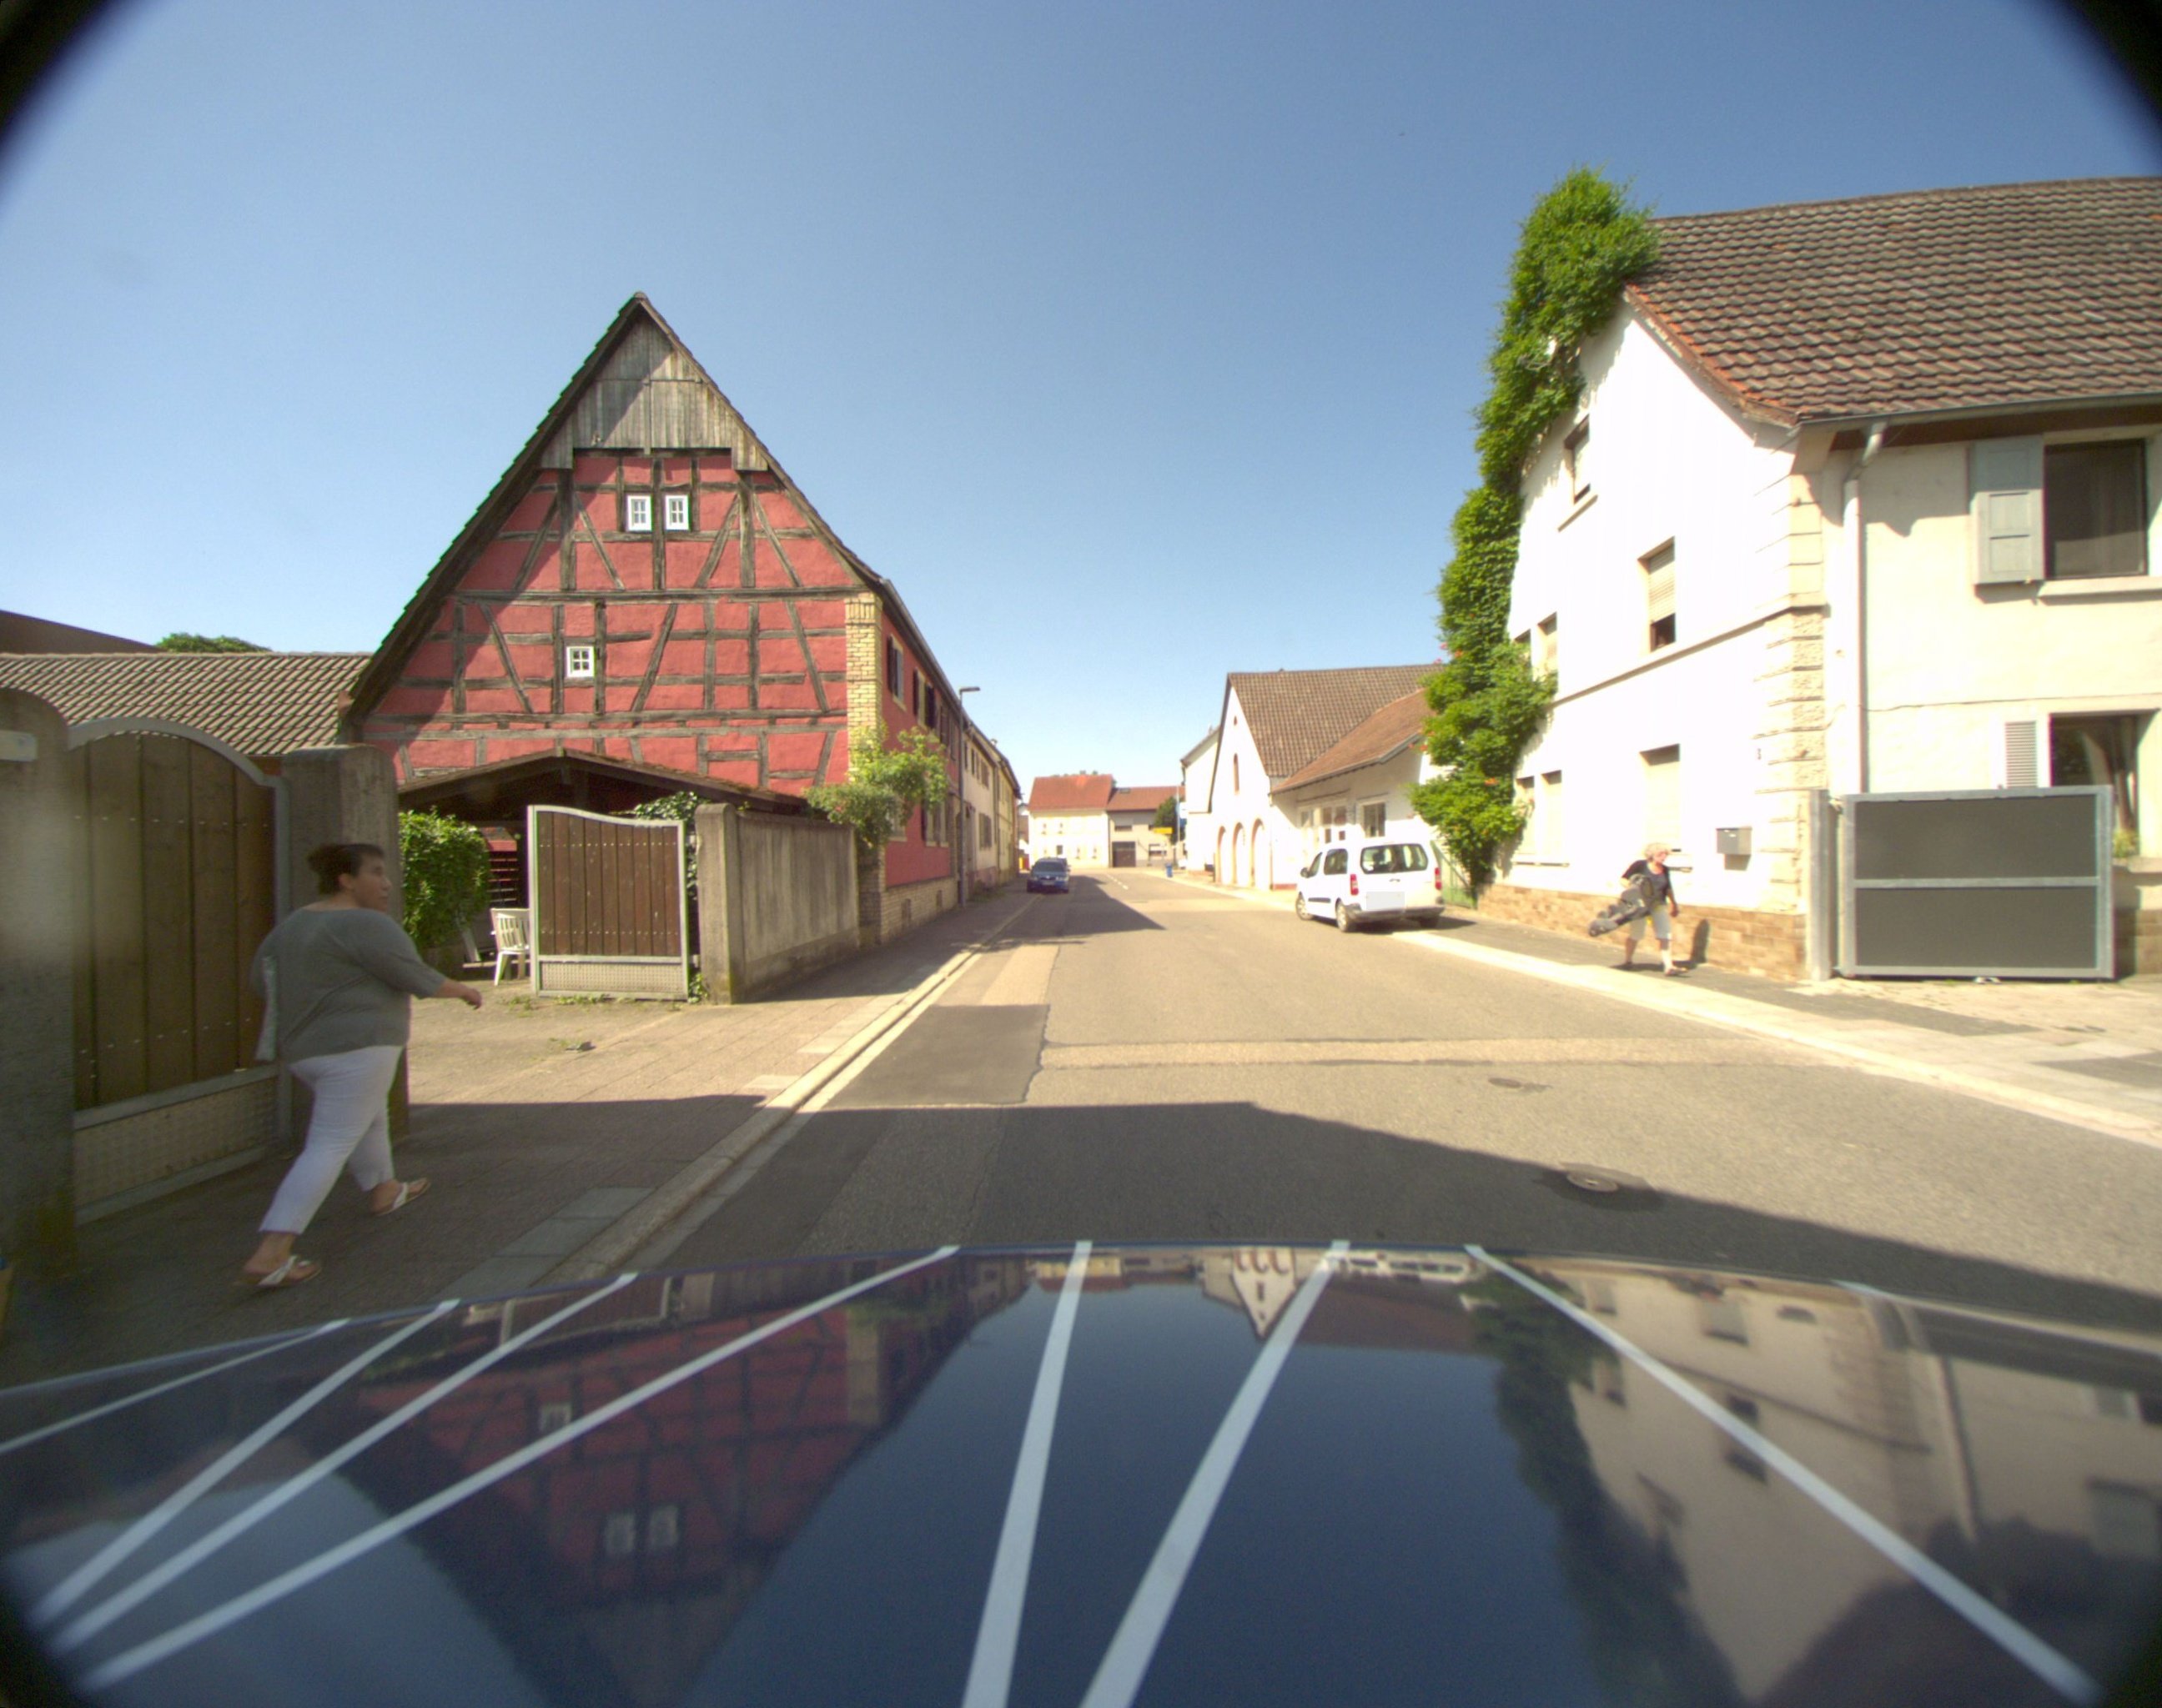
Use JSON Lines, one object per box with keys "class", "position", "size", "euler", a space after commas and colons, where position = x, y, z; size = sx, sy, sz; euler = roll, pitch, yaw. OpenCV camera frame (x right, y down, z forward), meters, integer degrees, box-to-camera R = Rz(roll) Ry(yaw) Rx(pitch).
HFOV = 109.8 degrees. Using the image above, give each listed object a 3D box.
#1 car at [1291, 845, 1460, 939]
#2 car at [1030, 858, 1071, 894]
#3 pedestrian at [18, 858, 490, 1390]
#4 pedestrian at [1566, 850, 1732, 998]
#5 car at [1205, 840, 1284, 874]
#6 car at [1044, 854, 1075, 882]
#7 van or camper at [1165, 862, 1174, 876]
{"class": "car", "position": [5.834, 0.667, 15.704], "size": [1.859, 1.637, 4.430], "euler": [-1, 0, 1]}
{"class": "car", "position": [-1.352, 0.937, 34.038], "size": [1.703, 1.461, 4.409], "euler": [0, 0, -2]}
{"class": "pedestrian", "position": [-2.957, 0.857, 2.839], "size": [0.720, 1.654, 0.893], "euler": [-1, 1, 5]}
{"class": "pedestrian", "position": [6.379, 0.745, 8.614], "size": [1.016, 1.543, 1.140], "euler": [-2, 1, 2]}
{"class": "car", "position": [11.276, 0.218, 52.737], "size": [5.185, 2.184, 2.124], "euler": [-2, 0, 10]}
{"class": "car", "position": [-1.417, 0.907, 50.914], "size": [1.903, 1.718, 4.248], "euler": [-2, 0, 0]}
{"class": "van or camper", "position": [6.299, 1.061, 53.959], "size": [0.590, 0.946, 0.600], "euler": [-2, 0, 5]}
